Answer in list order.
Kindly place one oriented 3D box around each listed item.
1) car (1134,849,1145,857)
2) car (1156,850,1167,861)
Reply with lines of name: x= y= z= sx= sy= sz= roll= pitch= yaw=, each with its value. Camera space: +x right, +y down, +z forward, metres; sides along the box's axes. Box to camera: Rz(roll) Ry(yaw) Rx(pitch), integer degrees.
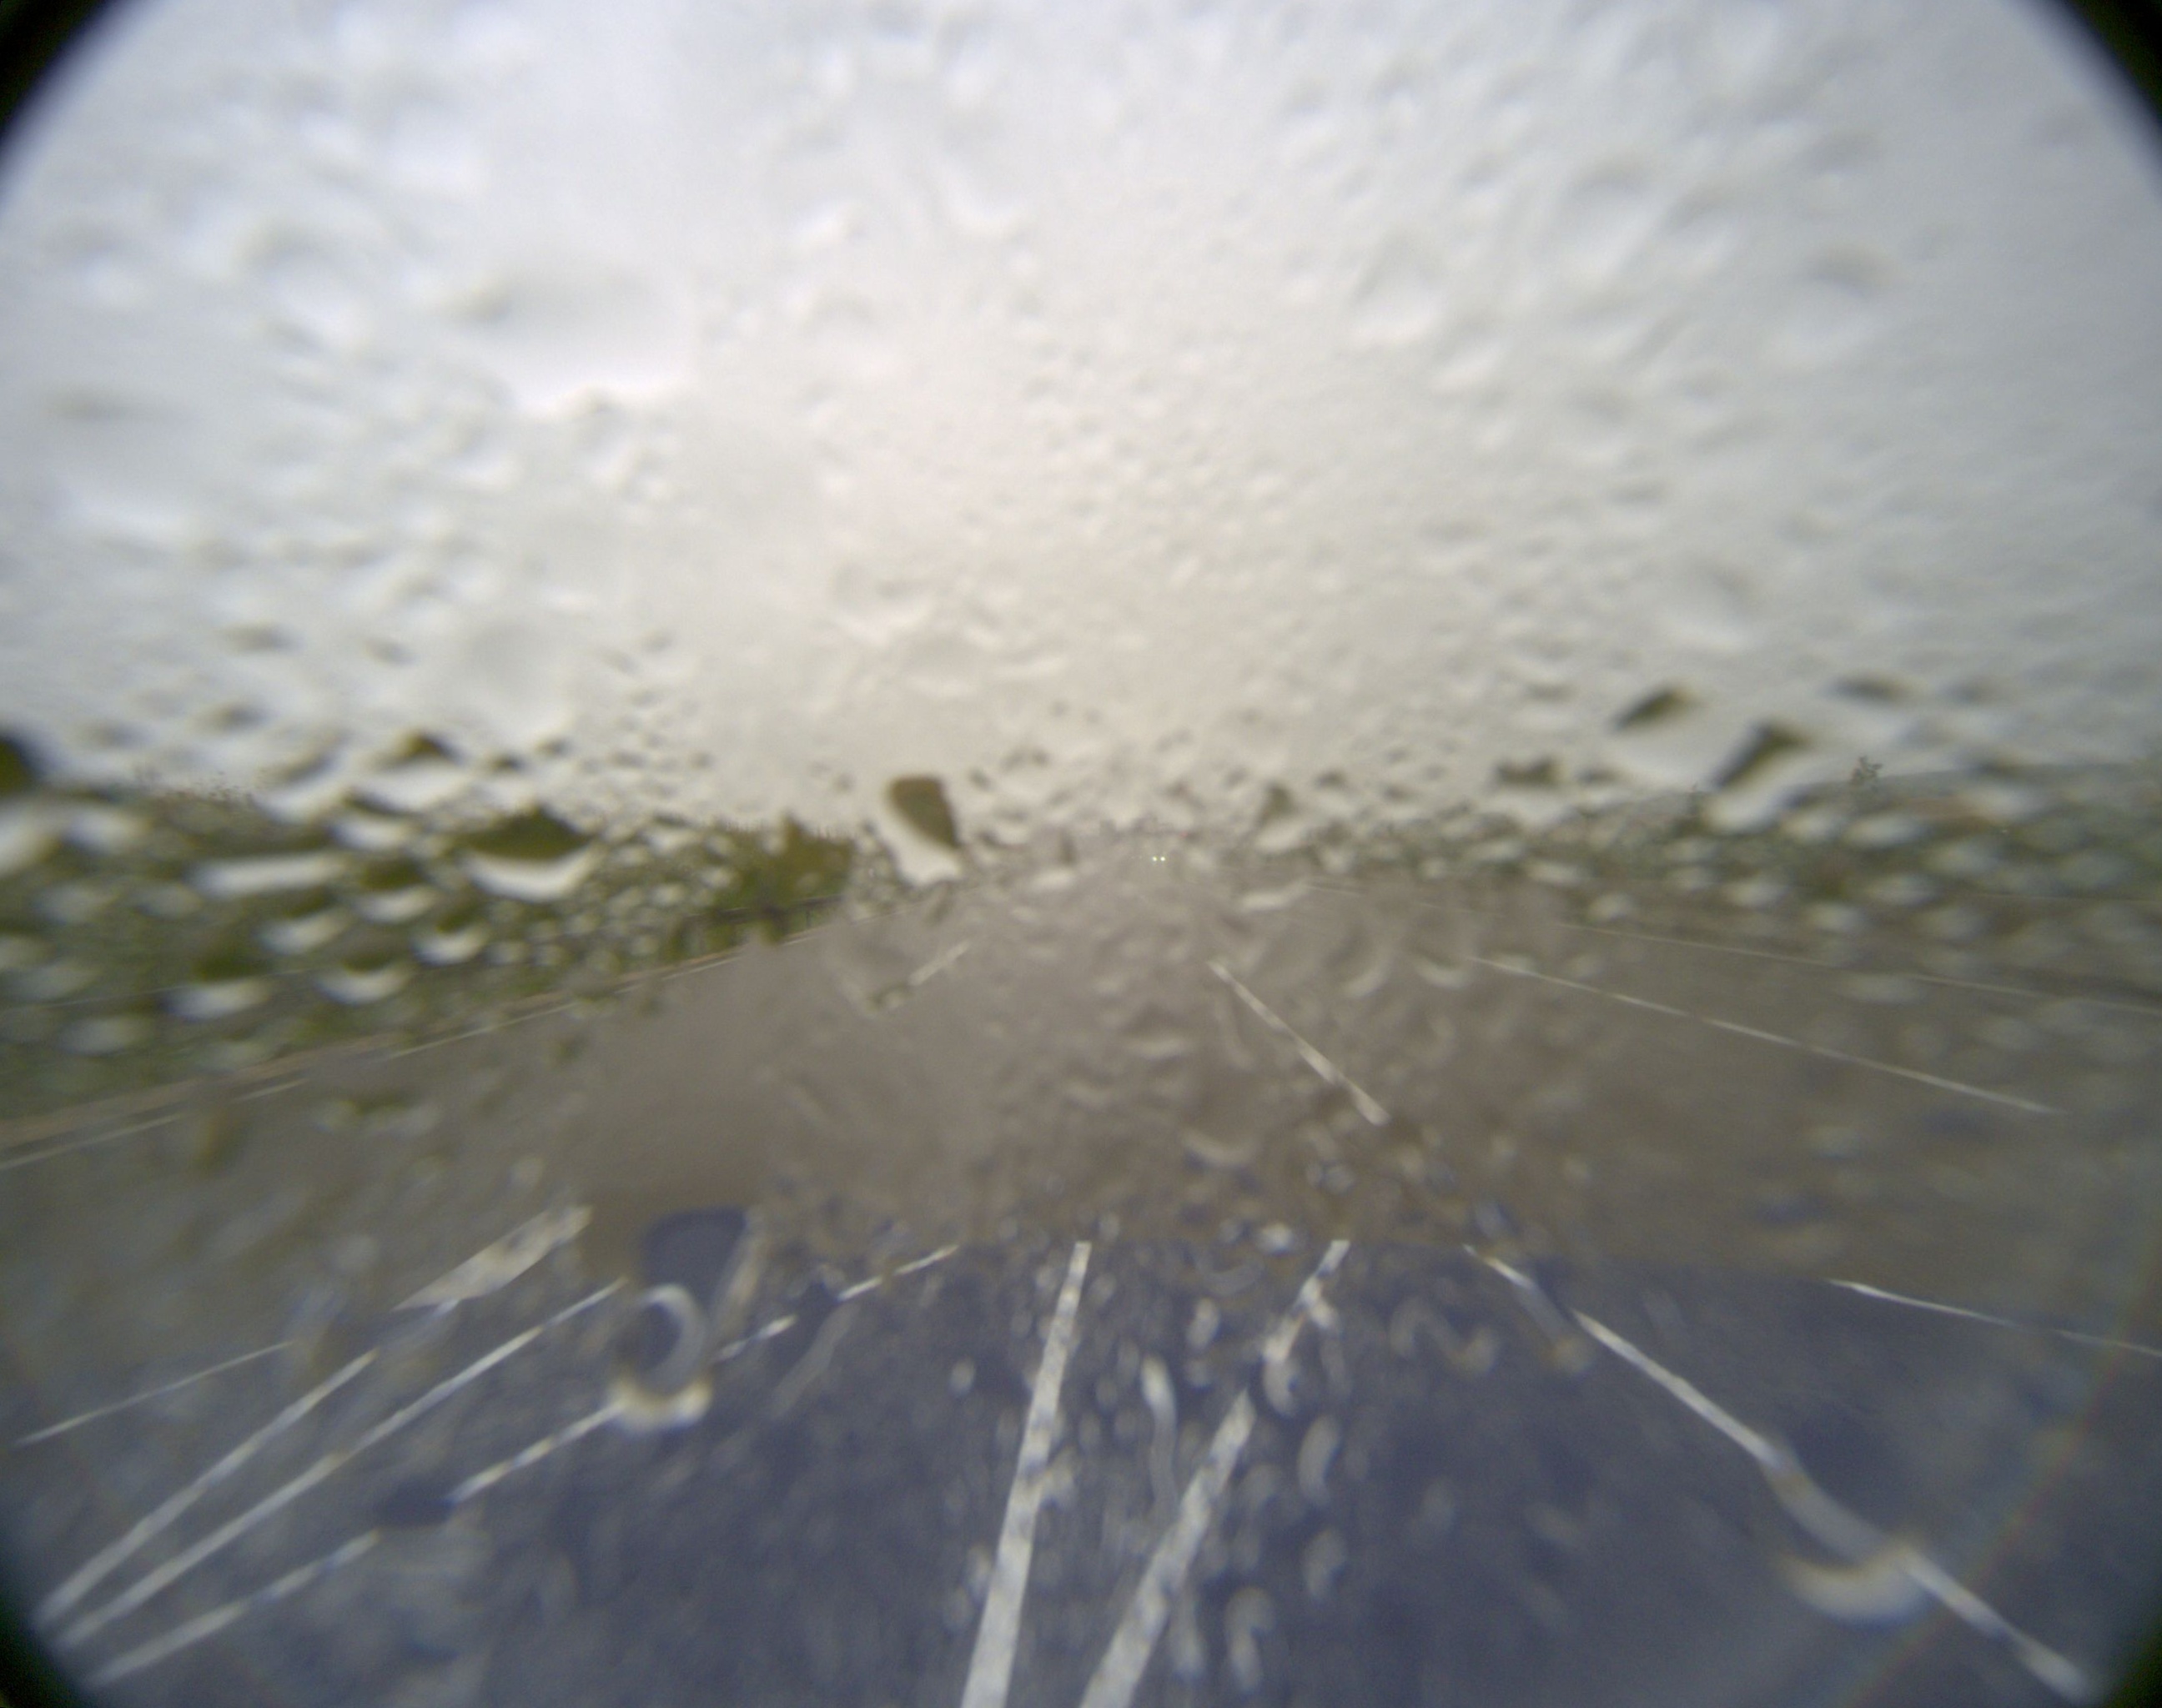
car: x=10.816 y=-0.191 z=140.726 sx=1.700 sy=1.543 sz=3.733 roll=-3 pitch=1 yaw=3
car: x=13.070 y=0.223 z=124.147 sx=1.700 sy=1.543 sz=3.734 roll=-3 pitch=1 yaw=5
